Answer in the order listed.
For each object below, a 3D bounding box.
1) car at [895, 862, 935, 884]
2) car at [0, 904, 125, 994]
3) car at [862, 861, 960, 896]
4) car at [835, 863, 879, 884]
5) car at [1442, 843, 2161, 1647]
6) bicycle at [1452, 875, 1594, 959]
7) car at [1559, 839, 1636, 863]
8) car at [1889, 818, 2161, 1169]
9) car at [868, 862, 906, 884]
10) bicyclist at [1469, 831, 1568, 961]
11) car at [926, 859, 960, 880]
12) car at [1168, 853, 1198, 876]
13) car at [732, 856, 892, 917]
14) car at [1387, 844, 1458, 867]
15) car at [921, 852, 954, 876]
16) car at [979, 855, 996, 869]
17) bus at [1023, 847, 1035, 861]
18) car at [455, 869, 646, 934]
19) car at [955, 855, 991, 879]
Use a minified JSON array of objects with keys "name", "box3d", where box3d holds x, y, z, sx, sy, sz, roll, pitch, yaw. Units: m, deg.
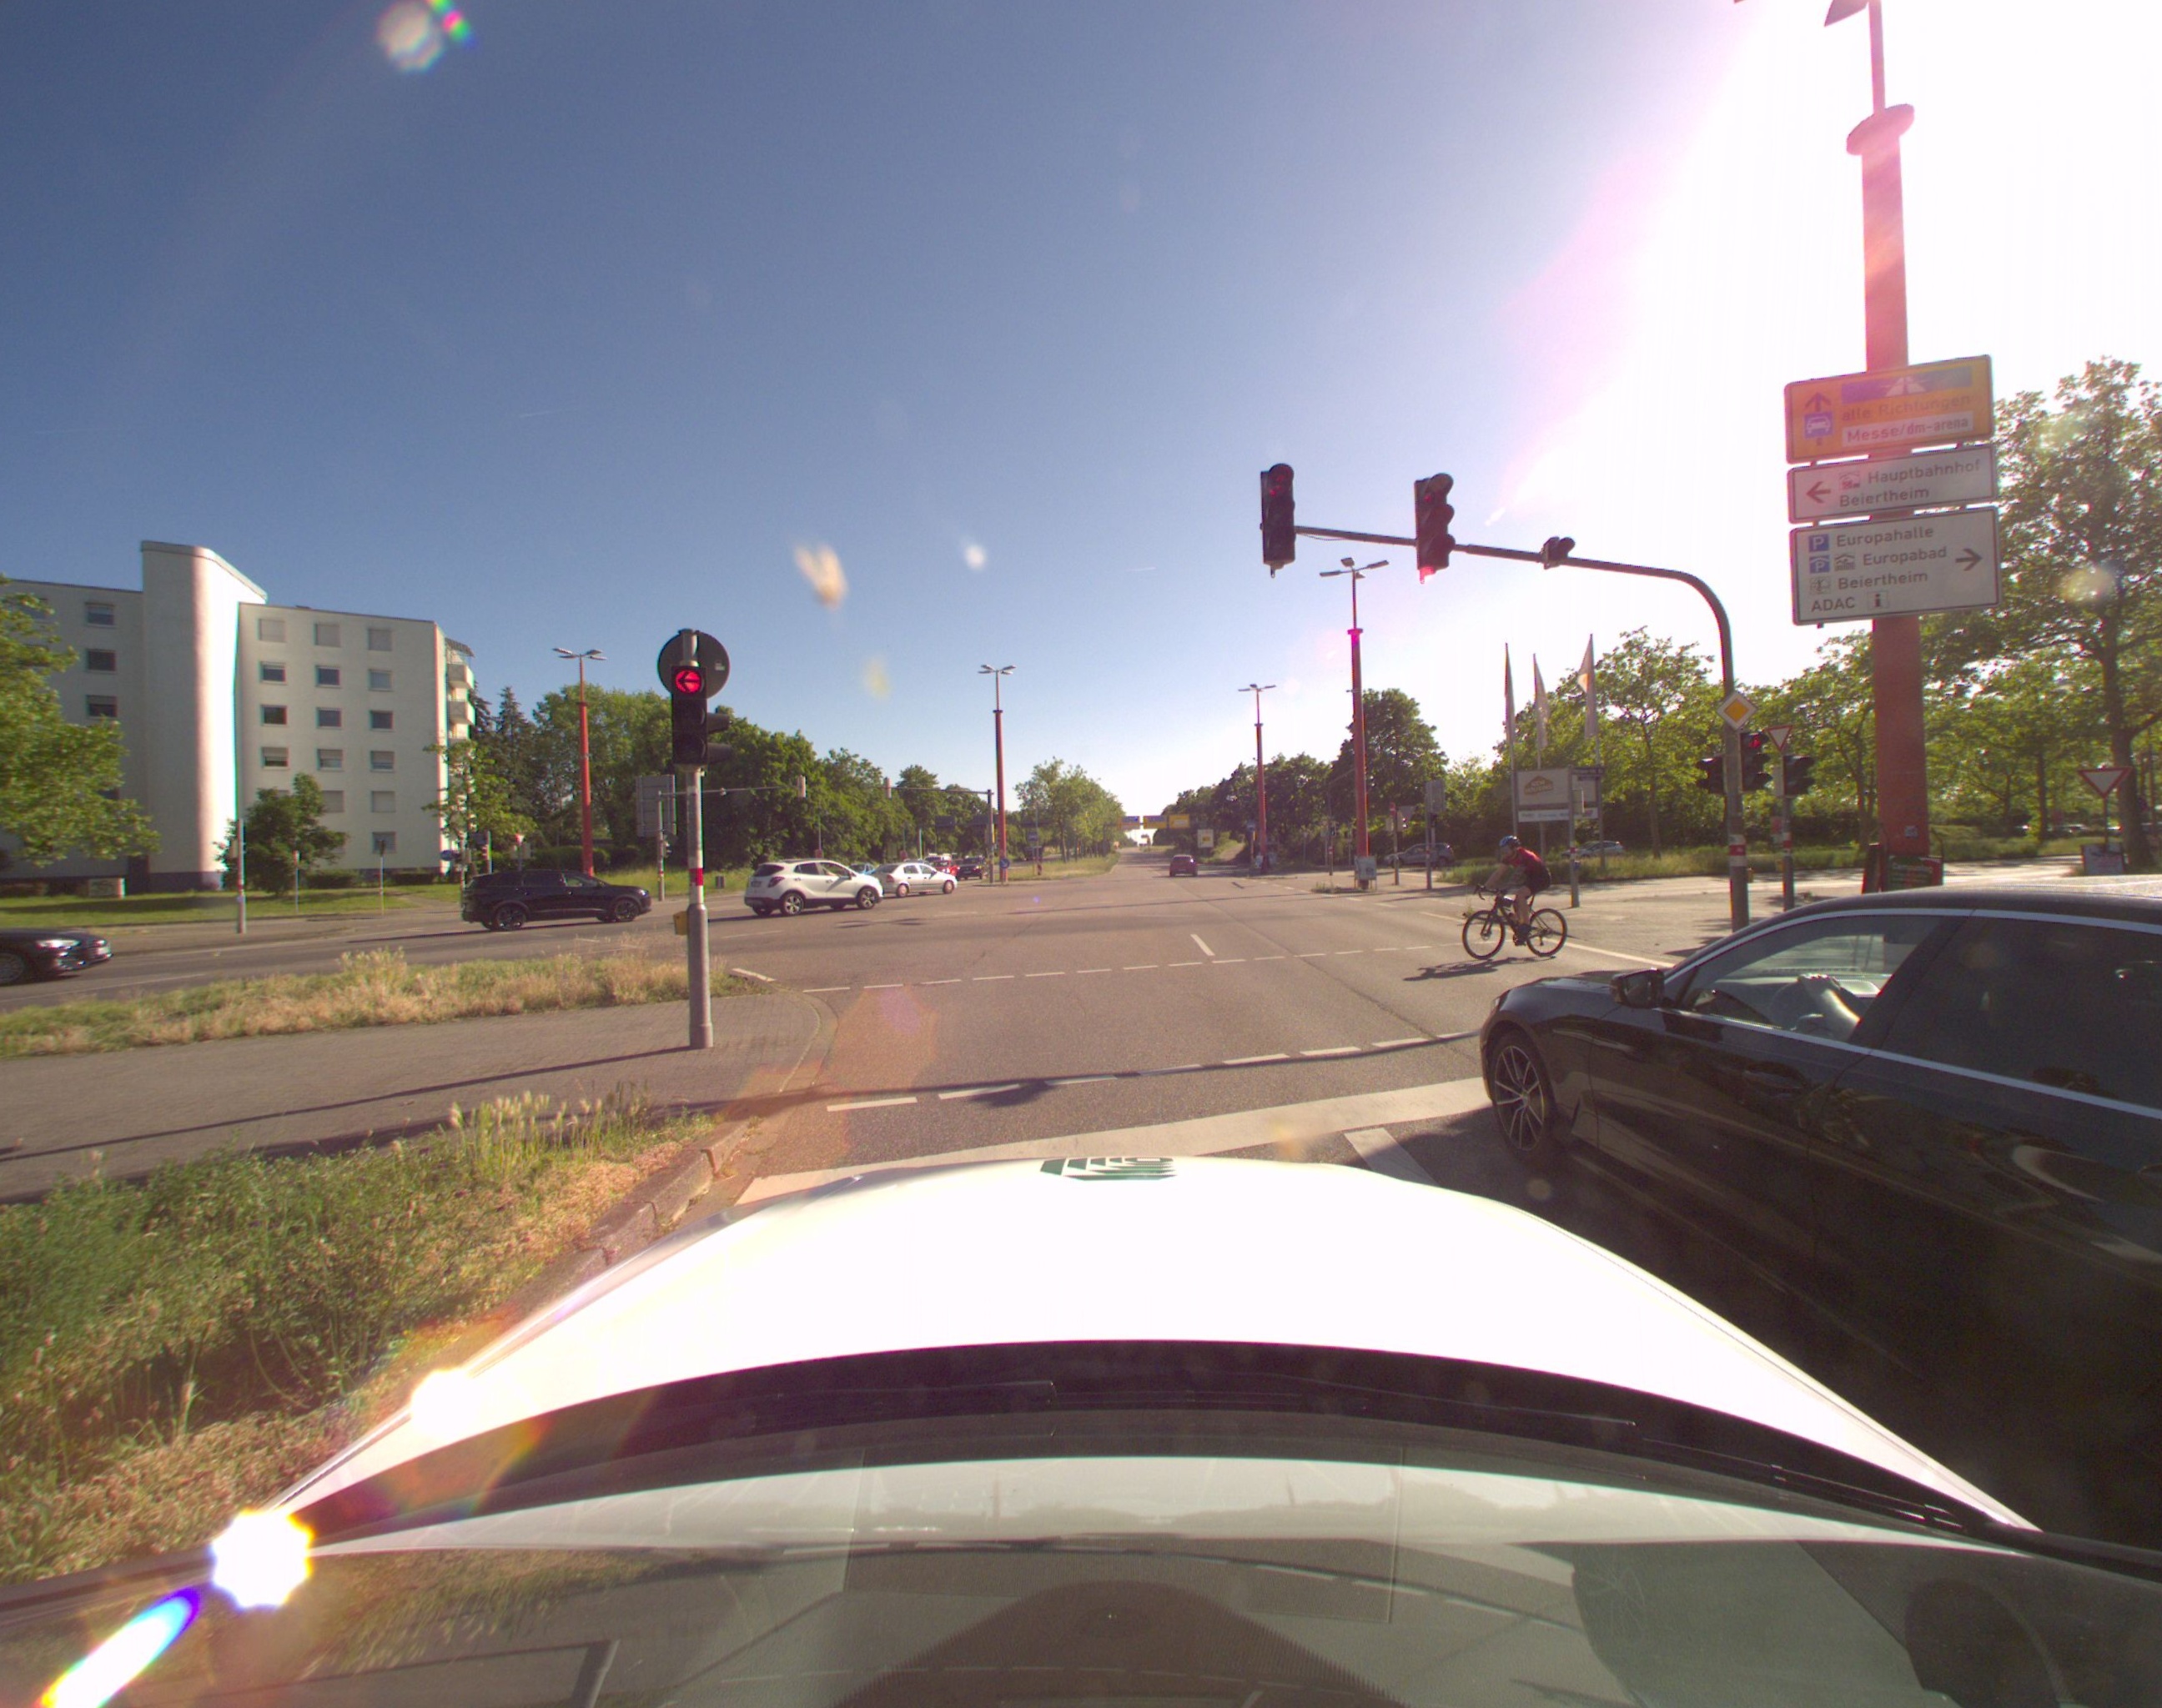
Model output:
[{"name":"car","box3d":[-10.605,1.186,52.310,1.733,1.243,3.613,-2,0,1]},{"name":"car","box3d":[-18.972,1.637,13.101,4.385,1.350,1.745,-2,0,-40]},{"name":"car","box3d":[-6.941,0.976,33.625,1.468,1.346,4.025,-2,-1,35]},{"name":"car","box3d":[-14.089,1.209,51.423,1.733,1.243,3.613,-2,0,1]},{"name":"car","box3d":[2.887,0.688,2.378,1.862,1.398,4.446,-2,0,3]},{"name":"bicycle","box3d":[6.308,0.860,11.633,1.831,1.057,0.718,-2,0,-20]},{"name":"car","box3d":[34.340,-0.205,54.183,3.959,1.467,1.688,-2,0,8]},{"name":"car","box3d":[5.668,0.601,2.865,1.732,1.578,4.032,-2,0,3]},{"name":"car","box3d":[-13.672,1.316,57.532,1.733,1.411,3.613,-2,0,1]},{"name":"bicyclist","box3d":[6.223,0.569,11.603,0.998,1.741,0.731,-2,0,-22]},{"name":"car","box3d":[-9.907,1.085,58.670,1.733,1.362,3.613,-2,0,1]},{"name":"car","box3d":[6.940,0.693,55.229,1.669,1.435,4.078,-2,0,11]},{"name":"car","box3d":[-8.110,0.929,24.836,1.805,1.636,4.280,-2,0,41]},{"name":"car","box3d":[23.322,0.106,55.820,4.282,1.485,1.793,-2,0,16]},{"name":"car","box3d":[-12.548,0.887,71.418,1.886,2.026,5.224,-1,-1,1]},{"name":"car","box3d":[-14.329,1.225,125.340,1.986,2.013,4.002,-2,0,2]},{"name":"bus","box3d":[-12.307,0.079,194.603,2.485,3.238,9.993,-2,0,-2]},{"name":"car","box3d":[-15.133,1.296,23.391,1.835,1.545,4.287,-2,0,45]},{"name":"car","box3d":[-7.437,0.866,56.650,1.812,1.508,4.002,-2,0,2]}]
